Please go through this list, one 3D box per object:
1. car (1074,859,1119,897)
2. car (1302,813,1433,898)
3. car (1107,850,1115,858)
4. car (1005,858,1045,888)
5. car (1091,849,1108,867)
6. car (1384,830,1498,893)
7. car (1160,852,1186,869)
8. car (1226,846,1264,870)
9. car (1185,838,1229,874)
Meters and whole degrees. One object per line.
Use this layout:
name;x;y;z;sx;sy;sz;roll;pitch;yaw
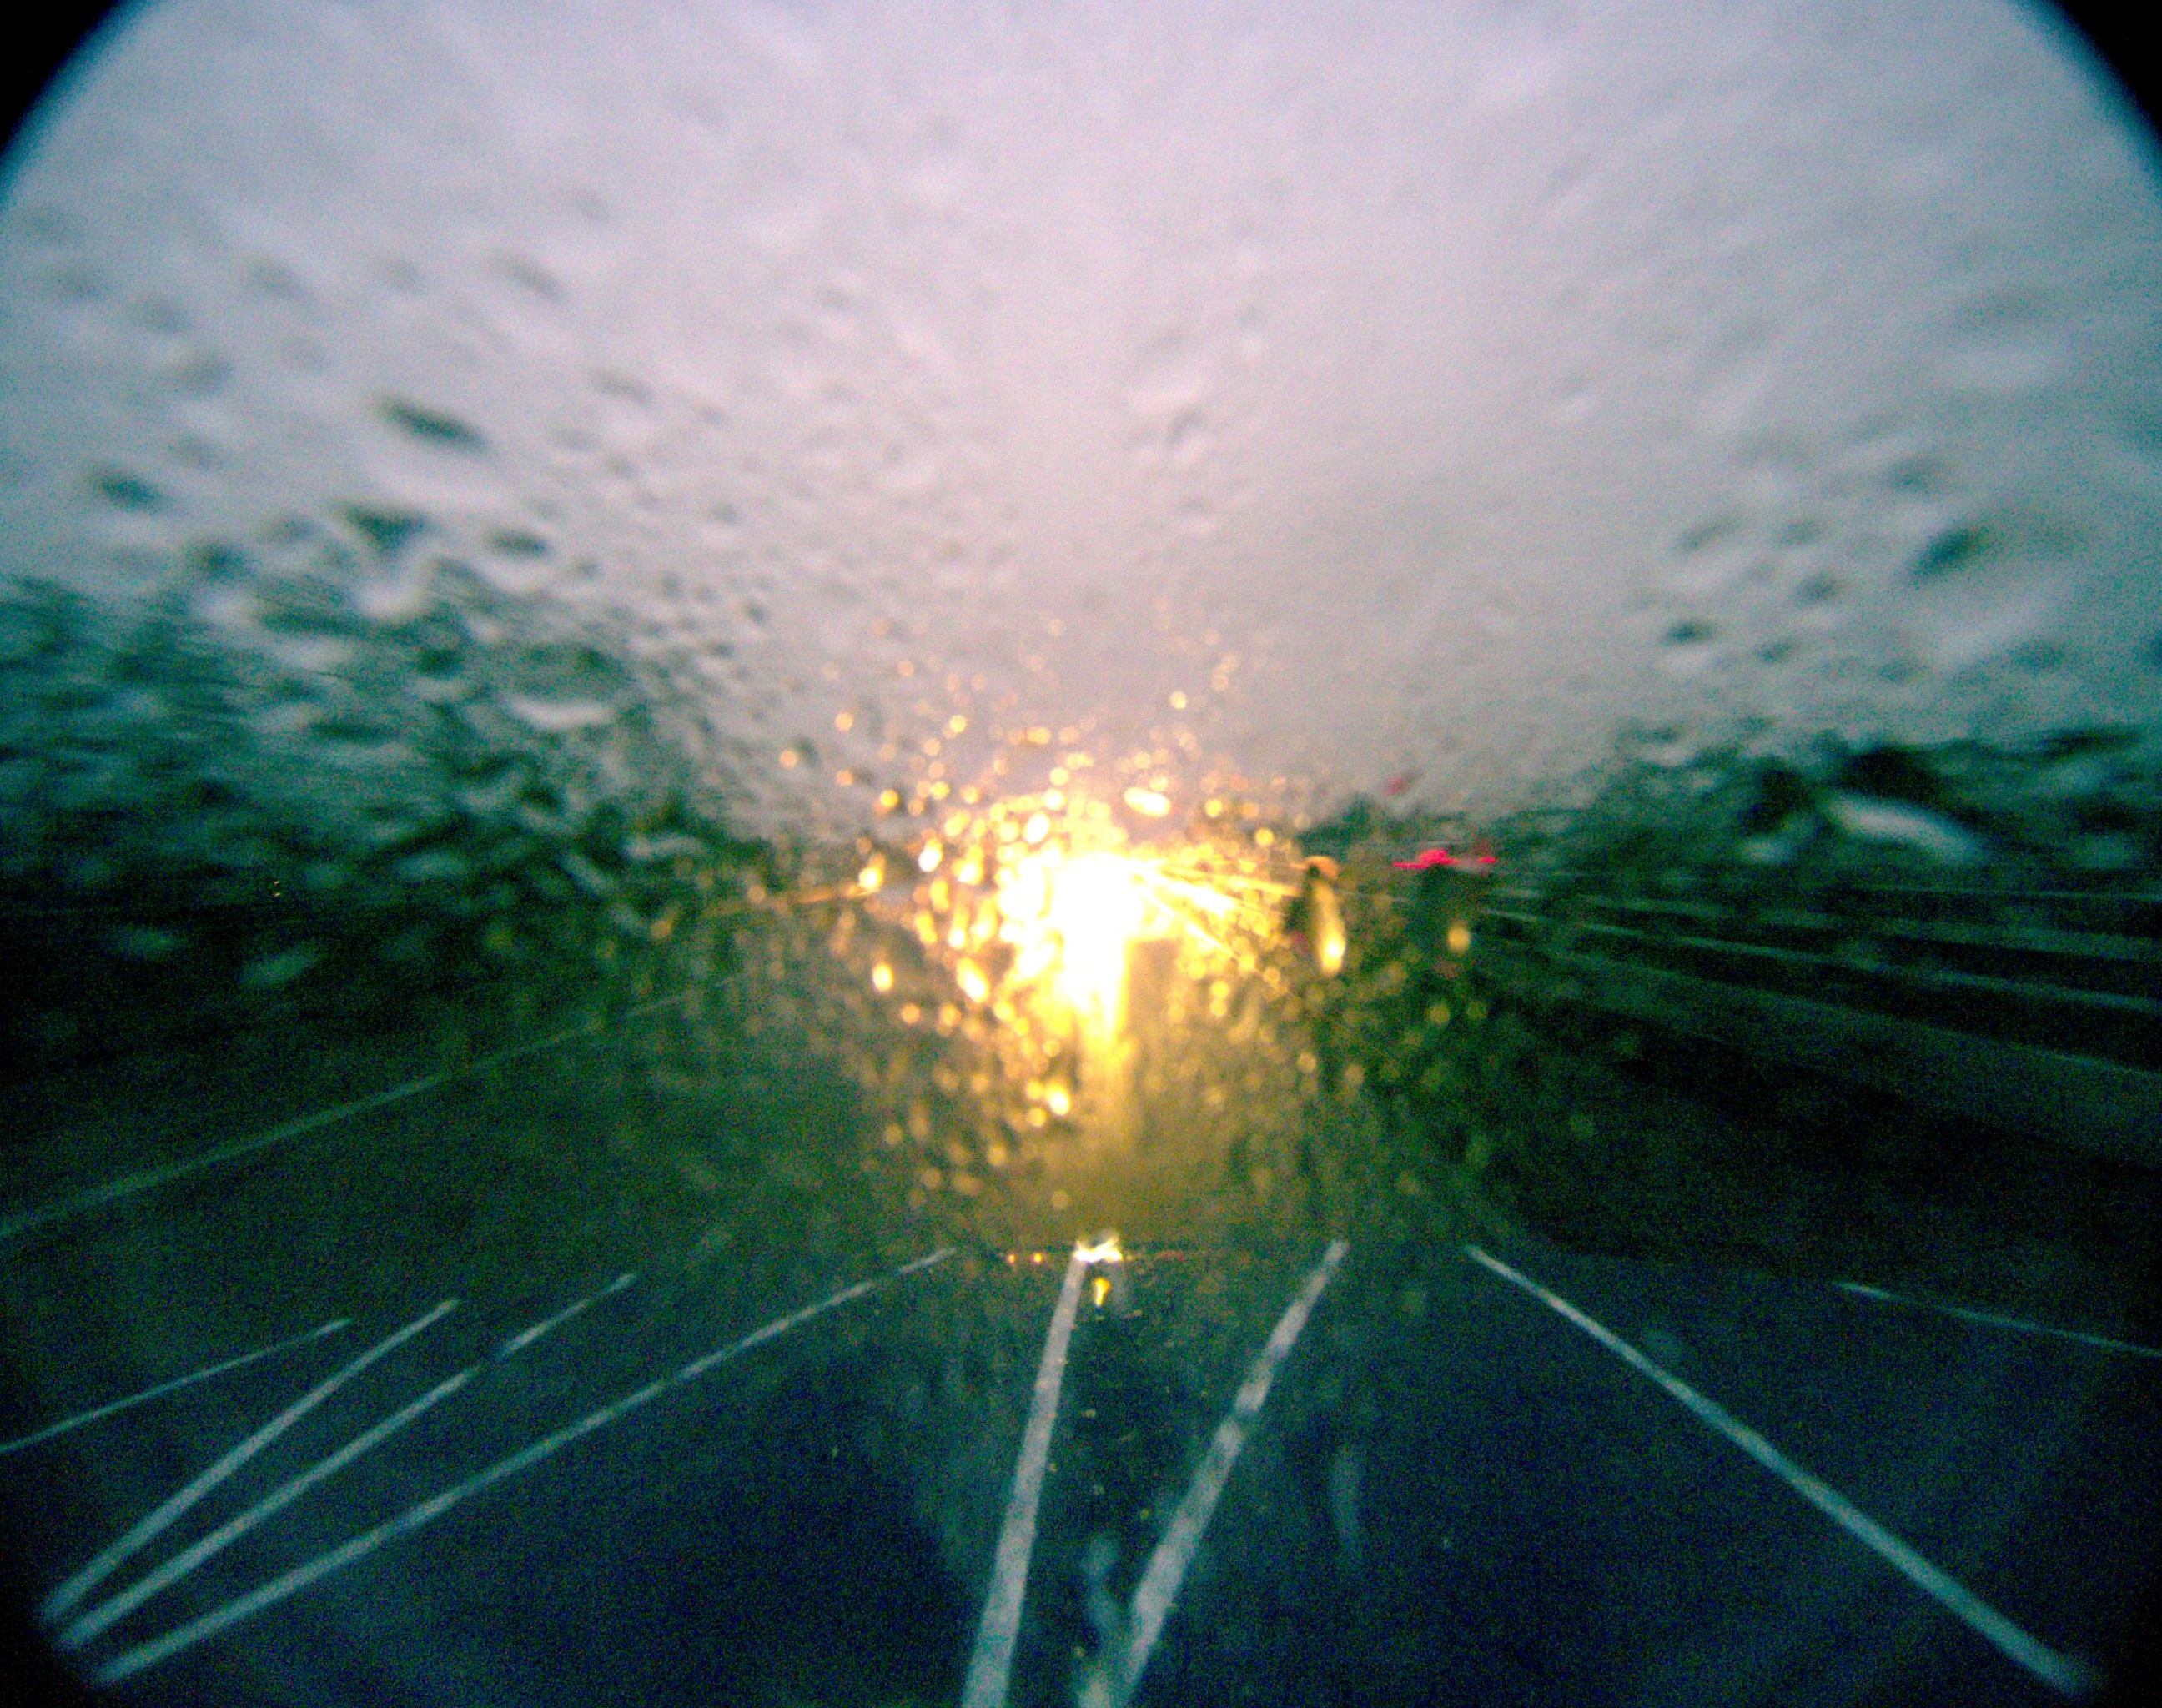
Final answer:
car;0.666;1.030;34.064;1.850;1.521;4.149;-2;0;0
car;7.748;0.051;21.049;1.969;2.041;4.373;-2;0;1
car;7.004;-0.031;177.230;1.875;1.761;4.000;-2;0;1
car;-3.053;1.034;42.298;1.850;1.521;4.149;-2;0;1
car;2.238;0.486;93.363;1.998;2.002;4.000;-2;0;1
car;11.421;0.215;24.436;1.747;1.805;4.000;-2;0;1
car;8.839;0.649;73.026;1.969;1.493;4.373;-2;0;1
car;11.669;0.297;54.200;1.860;1.557;3.922;-2;0;0
car;8.070;0.121;49.193;2.086;2.135;4.461;-2;0;1
